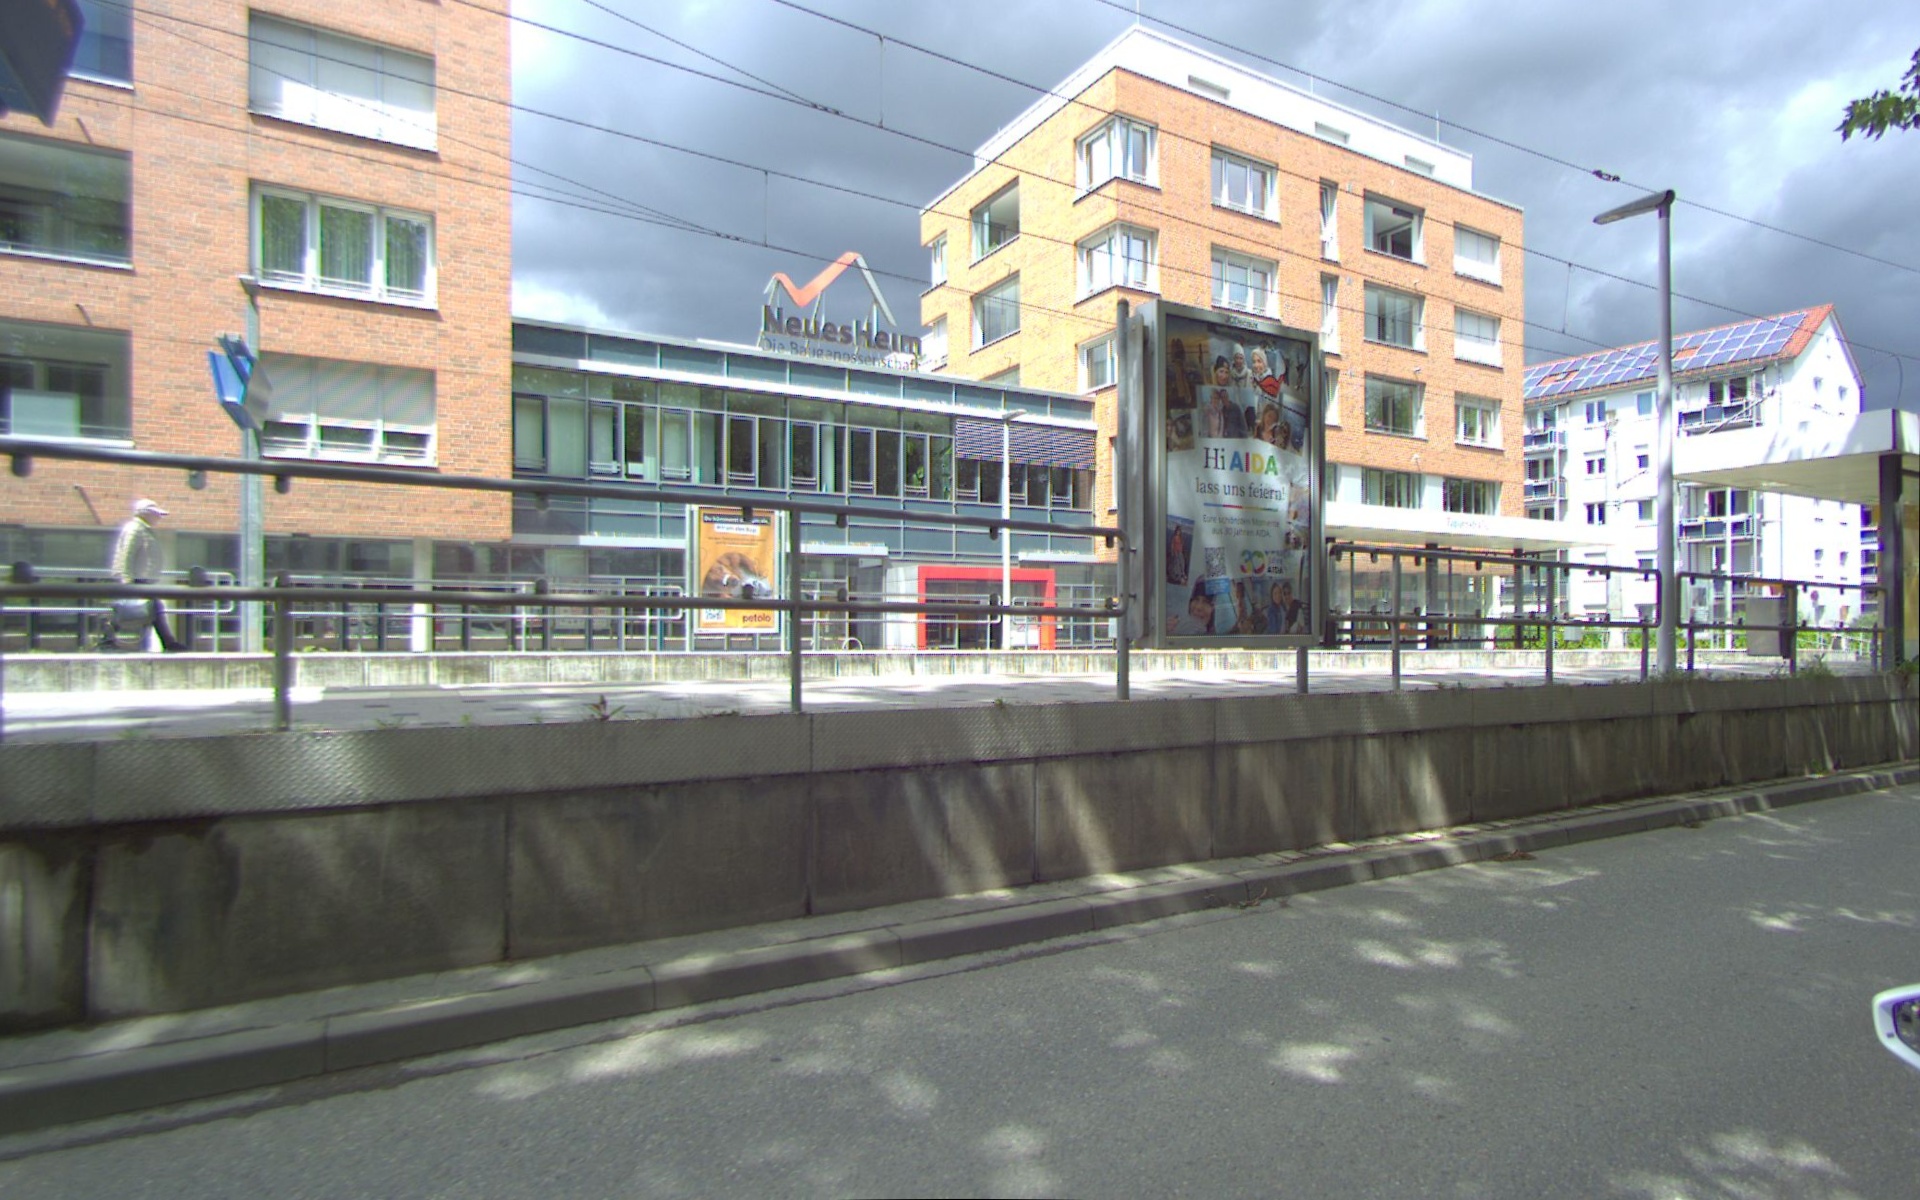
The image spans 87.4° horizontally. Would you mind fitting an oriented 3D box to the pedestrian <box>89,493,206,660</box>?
[{"bbox_3d":[-8.404,-0.226,10.431,0.806,1.650,0.747,1,0,-30],"label":"pedestrian"}]
